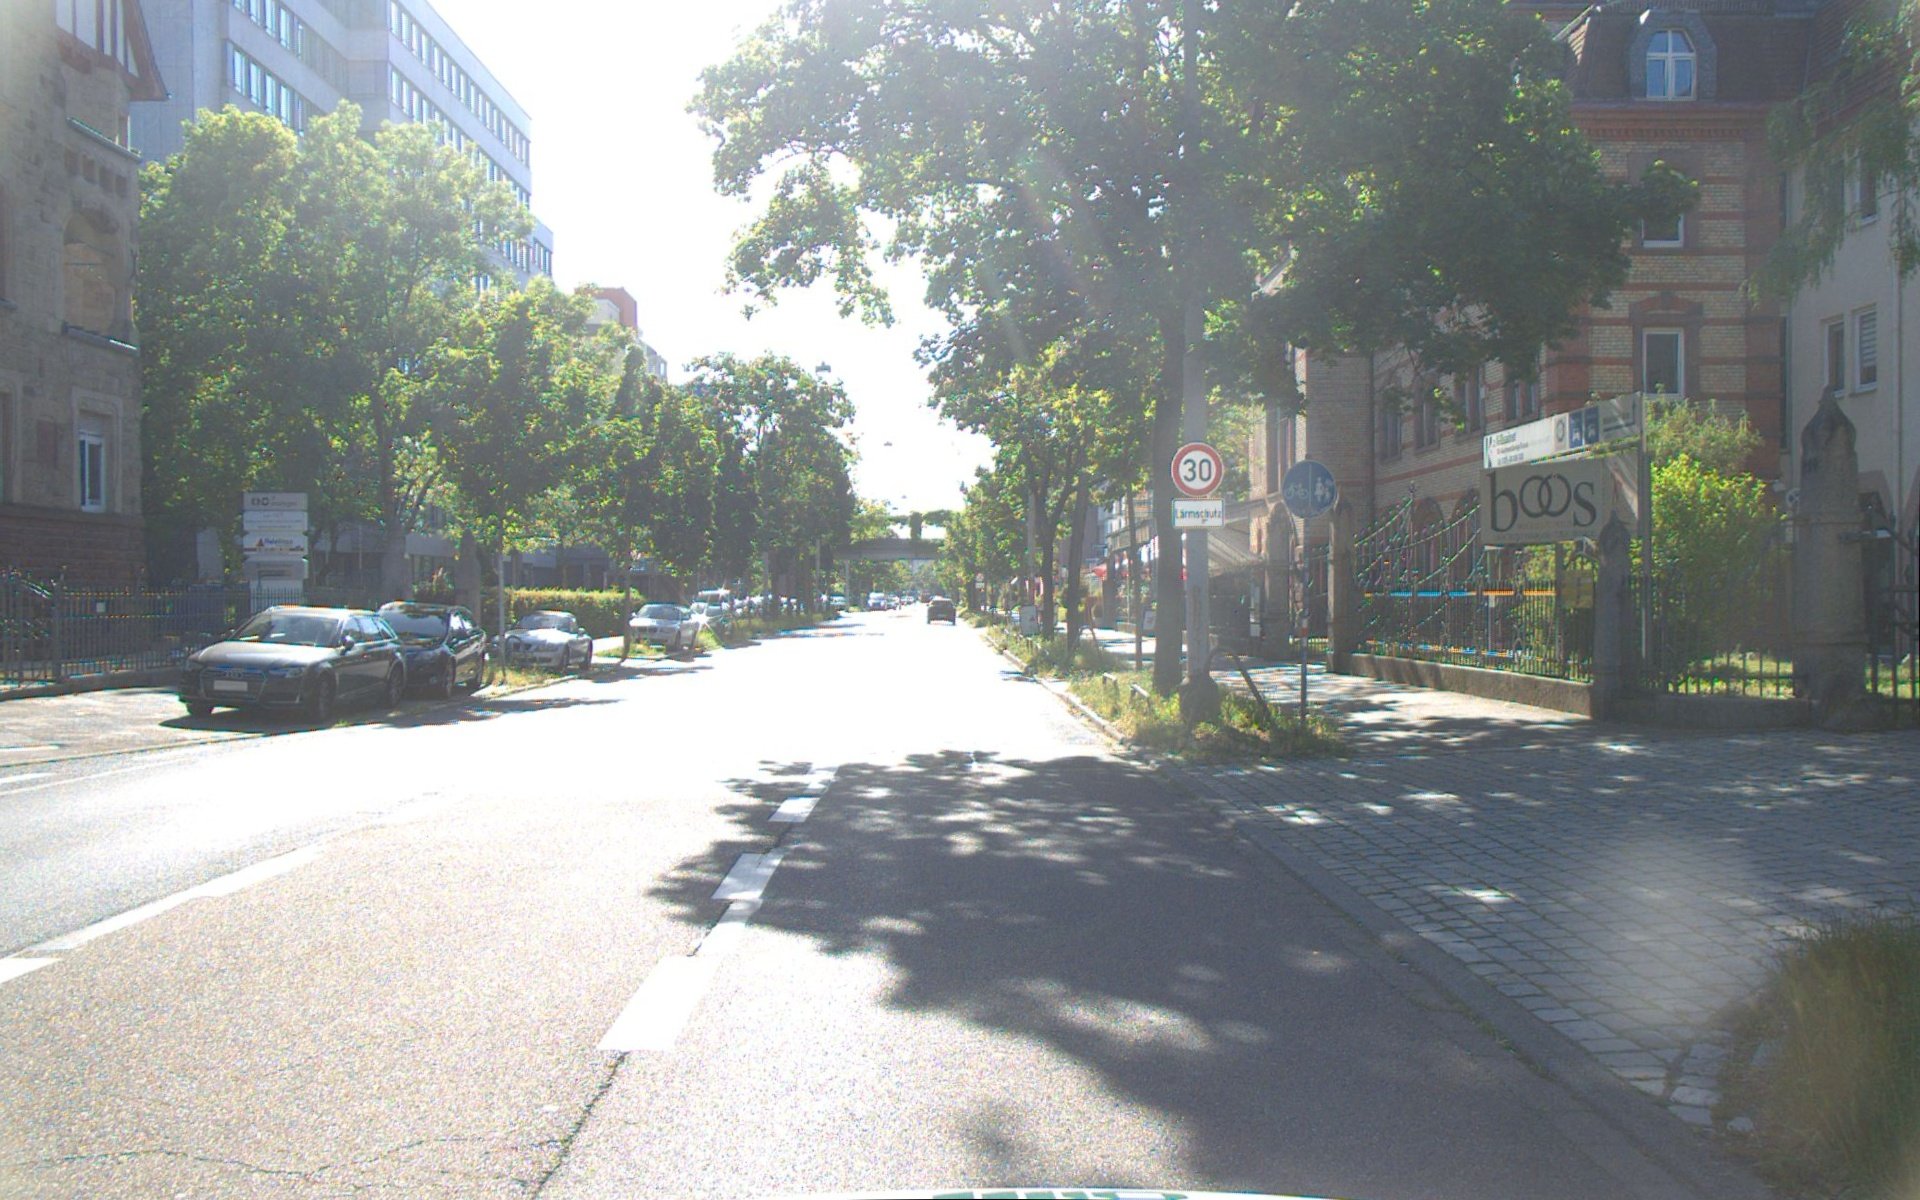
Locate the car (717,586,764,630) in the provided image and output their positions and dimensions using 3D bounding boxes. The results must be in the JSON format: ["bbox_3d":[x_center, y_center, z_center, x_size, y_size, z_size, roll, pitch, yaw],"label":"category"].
[{"bbox_3d":[-11.373,0.378,85.996,1.942,2.112,5.193,-3,0,-4],"label":"car"}]

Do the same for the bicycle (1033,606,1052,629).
[{"bbox_3d":[3.807,0.820,76.313,0.671,1.045,2.095,-1,-1,-2],"label":"bicycle"}]

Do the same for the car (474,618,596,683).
[{"bbox_3d":[-9.233,1.058,36.217,1.644,1.277,4.014,0,0,-1],"label":"car"}]

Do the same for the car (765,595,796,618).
[{"bbox_3d":[-13.049,0.444,120.423,1.818,1.595,3.871,0,0,-1],"label":"car"}]

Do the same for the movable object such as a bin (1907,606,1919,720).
[{"bbox_3d":[8.587,0.531,14.076,0.612,0.982,0.667,-3,0,-2],"label":"movable object such as a bin"}]

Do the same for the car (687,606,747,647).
[{"bbox_3d":[-9.356,1.007,63.930,1.677,1.484,4.072,0,0,0],"label":"car"}]

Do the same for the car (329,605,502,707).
[{"bbox_3d":[-9.342,0.903,28.767,1.820,1.520,4.700,3,0,-6],"label":"car"}]

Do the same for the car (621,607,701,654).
[{"bbox_3d":[-9.425,0.940,52.441,1.653,1.407,4.192,0,0,1],"label":"car"}]

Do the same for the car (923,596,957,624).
[{"bbox_3d":[-1.217,0.574,99.993,1.945,1.628,4.138,0,0,-2],"label":"car"}]

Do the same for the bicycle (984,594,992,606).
[{"bbox_3d":[2.373,0.018,142.278,0.577,1.045,1.859,-1,-1,-2],"label":"bicycle"}]

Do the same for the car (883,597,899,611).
[{"bbox_3d":[-8.210,0.503,196.632,1.818,1.595,4.714,-2,0,-2],"label":"car"}]

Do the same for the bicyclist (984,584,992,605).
[{"bbox_3d":[2.380,-0.473,142.216,0.654,1.725,0.889,0,-1,-1],"label":"bicyclist"}]

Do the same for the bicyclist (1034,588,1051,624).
[{"bbox_3d":[3.809,0.278,76.317,0.686,1.627,0.954,0,-1,-2],"label":"bicyclist"}]

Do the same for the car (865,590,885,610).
[{"bbox_3d":[-8.328,-0.021,162.741,1.818,1.857,4.608,-2,0,-2],"label":"car"}]

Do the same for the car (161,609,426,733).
[{"bbox_3d":[-9.310,0.923,23.574,1.818,1.452,4.719,3,0,0],"label":"car"}]
